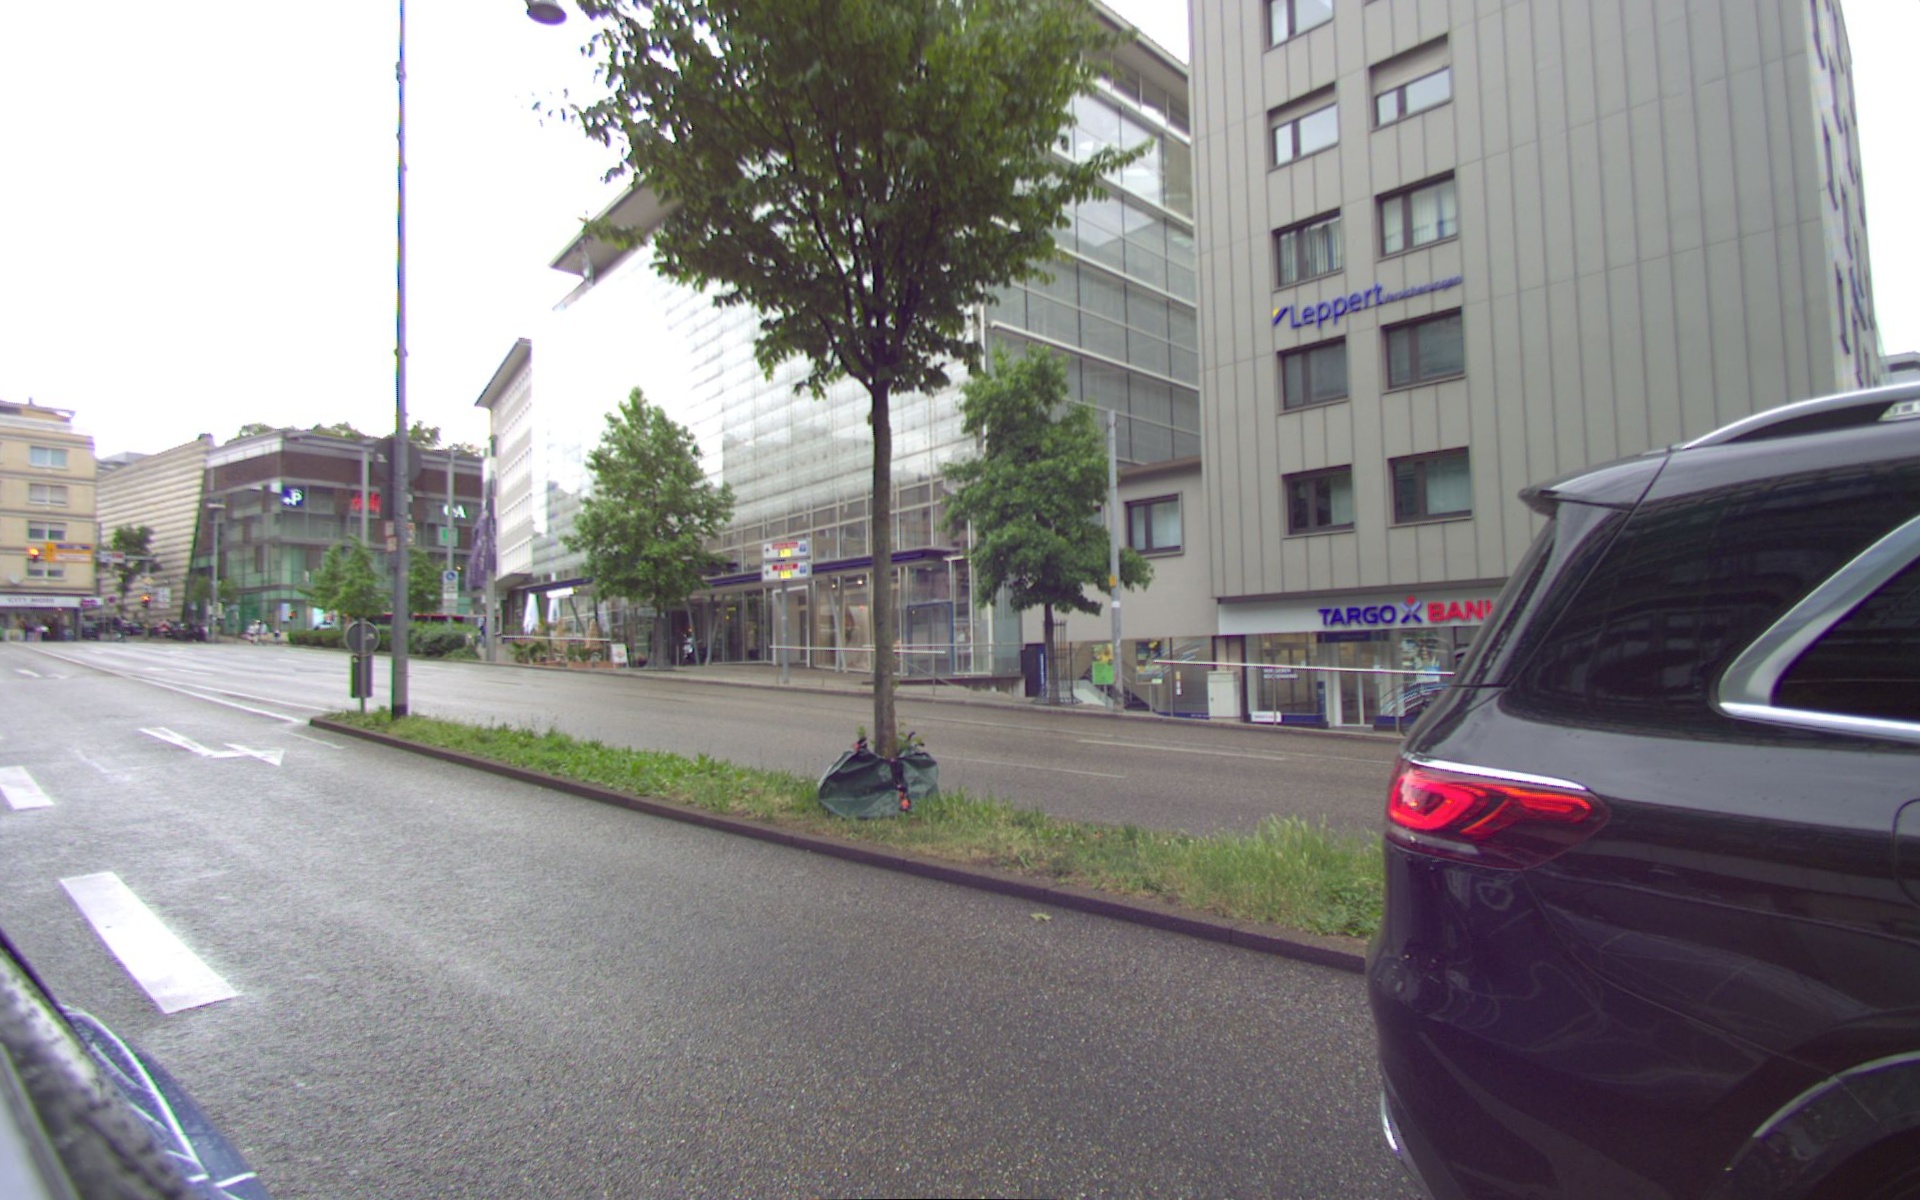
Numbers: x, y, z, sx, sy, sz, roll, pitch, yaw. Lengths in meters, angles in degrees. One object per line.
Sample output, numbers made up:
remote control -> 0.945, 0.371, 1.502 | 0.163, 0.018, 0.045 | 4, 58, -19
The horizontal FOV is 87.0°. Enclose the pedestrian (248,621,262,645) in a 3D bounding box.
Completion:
pedestrian -> -49.439, 2.324, 70.996 | 0.602, 1.642, 0.625 | -1, -3, 42

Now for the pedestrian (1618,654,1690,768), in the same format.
pedestrian -> 10.747, 1.697, 15.686 | 0.626, 1.649, 0.791 | 0, 0, -41

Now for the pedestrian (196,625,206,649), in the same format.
pedestrian -> -52.849, 2.567, 70.496 | 0.422, 1.642, 0.603 | 3, -3, -45

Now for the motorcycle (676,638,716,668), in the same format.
motorcycle -> -12.001, 2.415, 45.968 | 0.620, 1.336, 1.685 | -1, -3, 41

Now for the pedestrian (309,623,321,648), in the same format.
pedestrian -> -48.085, 2.630, 75.421 | 0.618, 1.788, 0.689 | 0, 0, -45

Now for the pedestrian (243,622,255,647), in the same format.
pedestrian -> -51.653, 2.512, 73.491 | 0.617, 1.788, 0.689 | 0, 0, -43

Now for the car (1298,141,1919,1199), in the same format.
car -> 3.111, 0.381, 0.817 | 5.069, 1.884, 1.892 | 0, 0, 40

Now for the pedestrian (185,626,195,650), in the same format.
pedestrian -> -54.869, 2.705, 72.073 | 0.602, 1.642, 0.422 | -1, -3, 44

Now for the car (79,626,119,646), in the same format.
car -> -90.307, 3.807, 106.103 | 4.575, 2.029, 1.977 | 0, -2, 34

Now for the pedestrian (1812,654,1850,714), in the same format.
pedestrian -> 25.501, 2.440, 29.633 | 0.724, 1.710, 0.781 | 0, -3, 34

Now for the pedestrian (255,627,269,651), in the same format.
pedestrian -> -48.611, 2.703, 70.447 | 0.603, 1.642, 0.625 | -1, -3, 44
